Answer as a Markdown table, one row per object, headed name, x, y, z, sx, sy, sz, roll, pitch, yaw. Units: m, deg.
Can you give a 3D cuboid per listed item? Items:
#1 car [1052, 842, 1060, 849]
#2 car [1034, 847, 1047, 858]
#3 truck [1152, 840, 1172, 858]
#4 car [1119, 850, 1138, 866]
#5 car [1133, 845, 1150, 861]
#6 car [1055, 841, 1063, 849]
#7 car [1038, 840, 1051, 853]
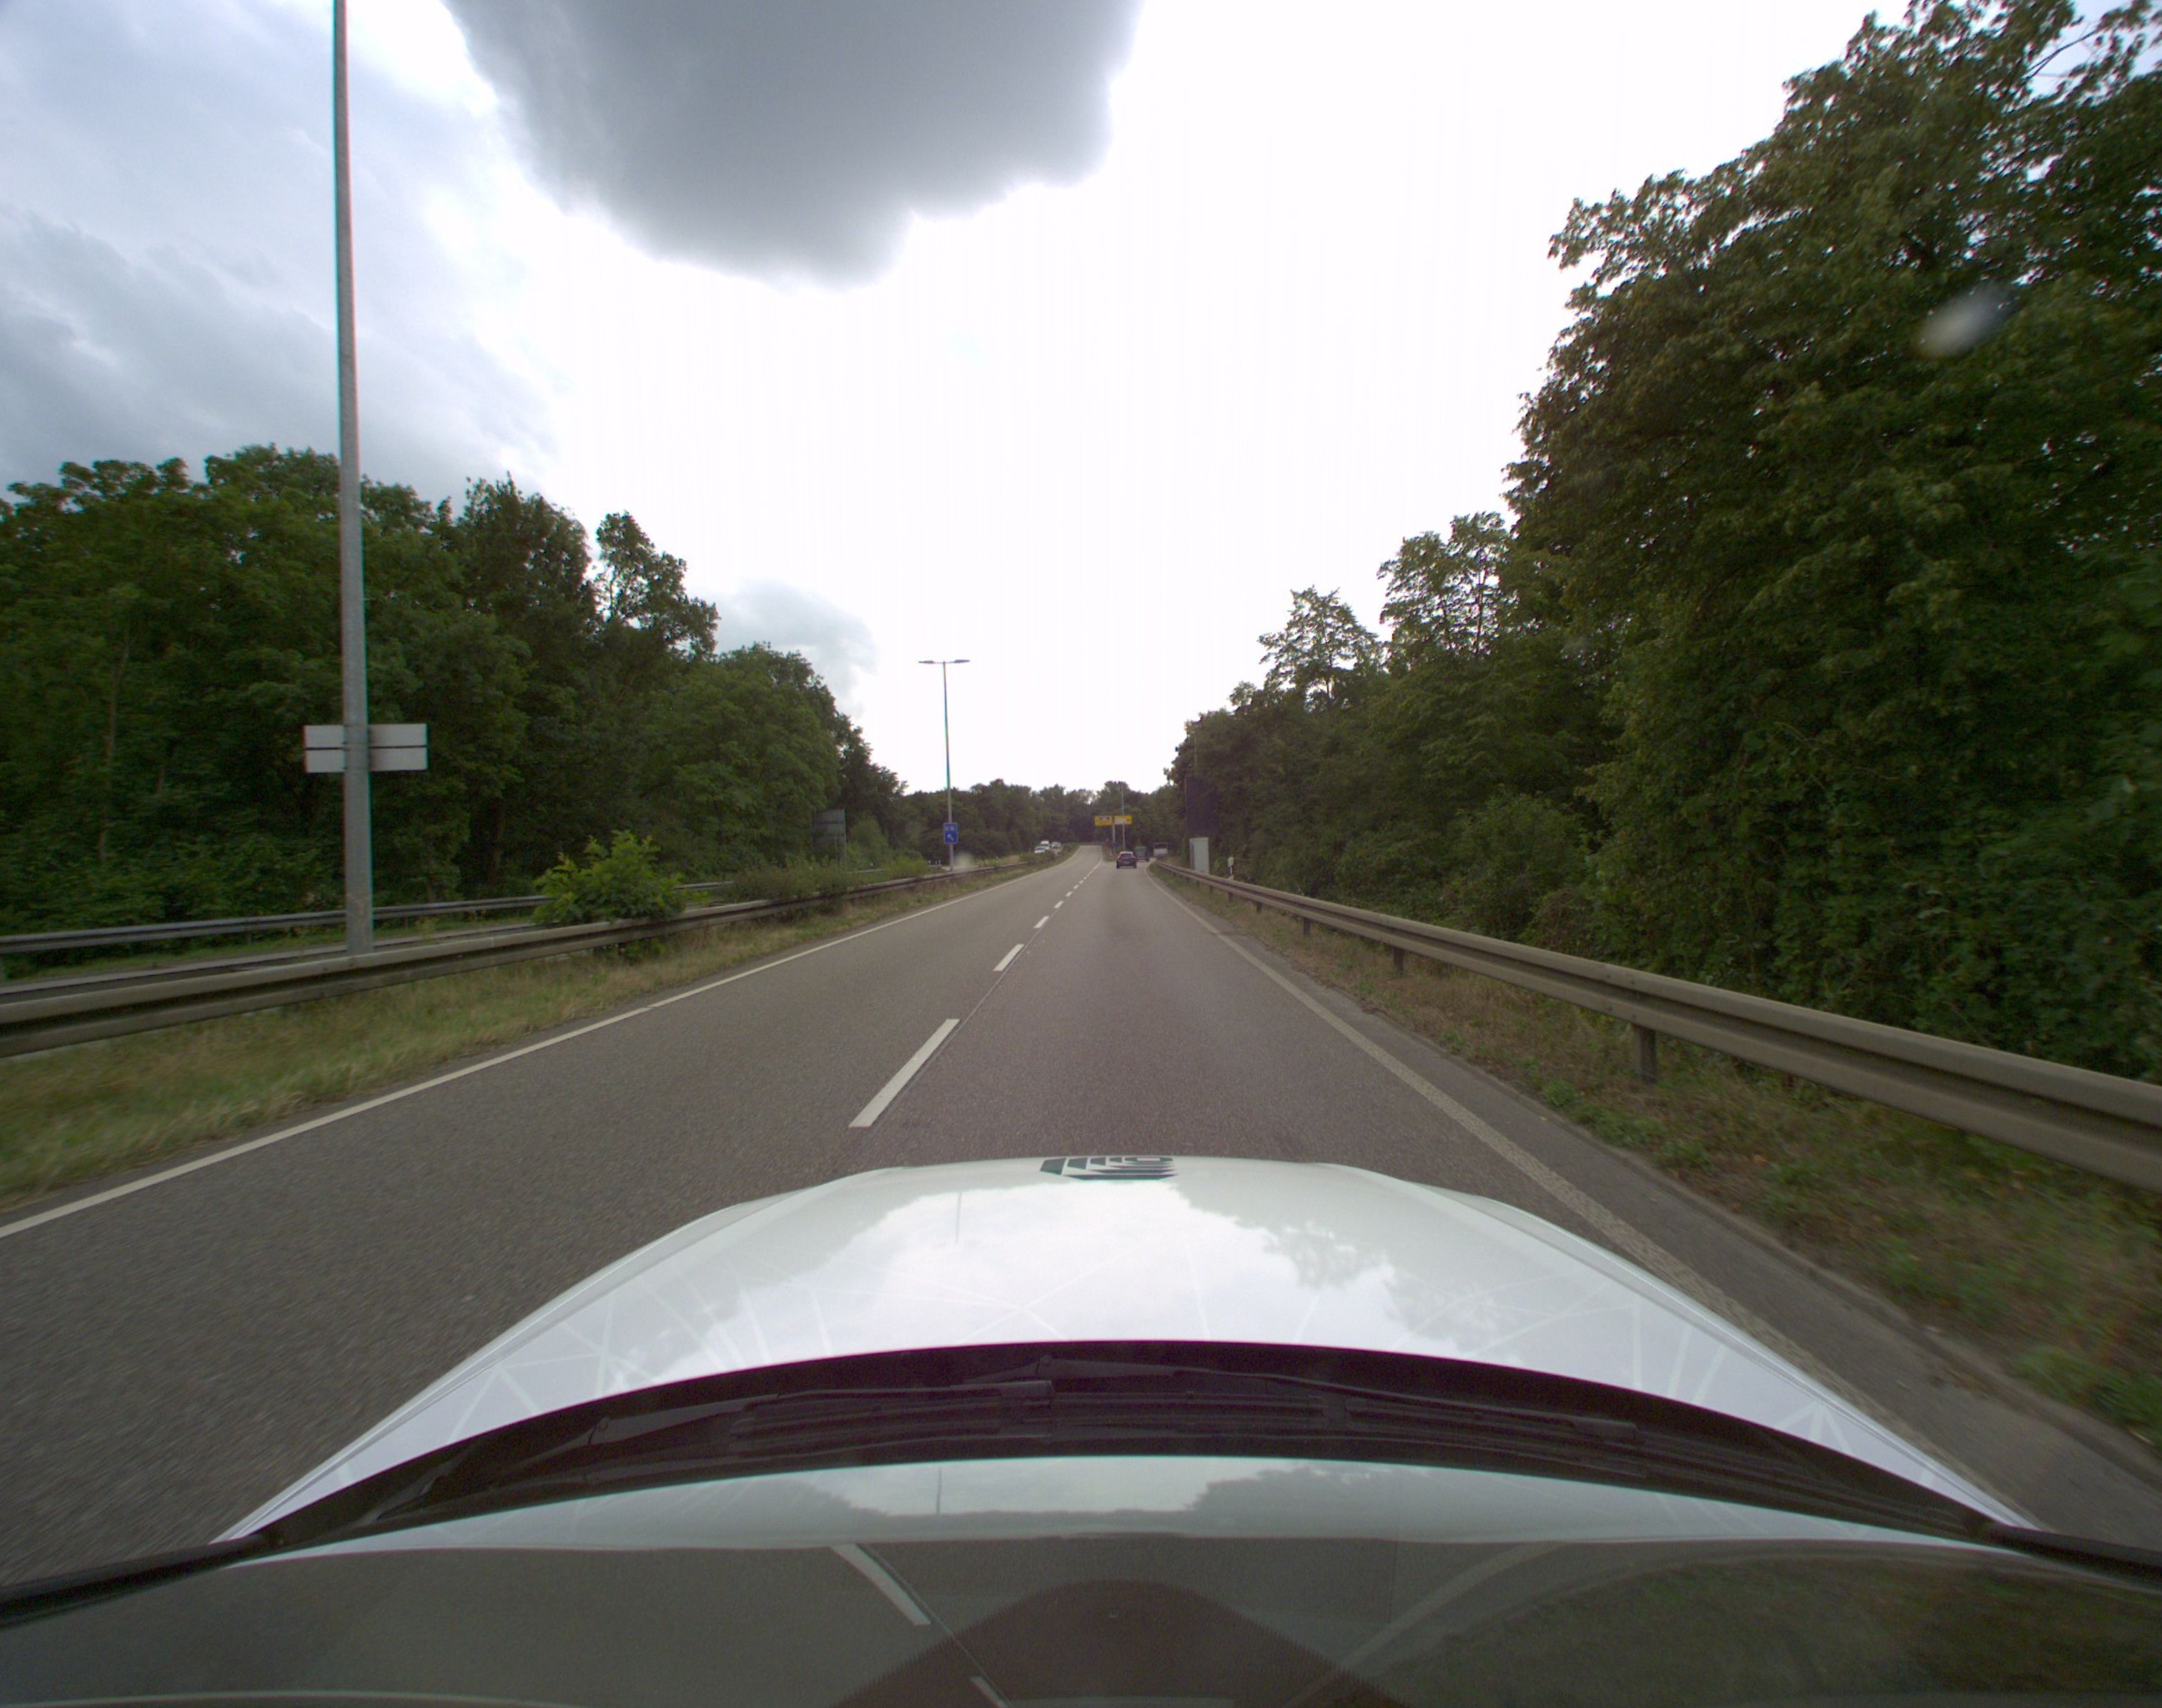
| name | x | y | z | sx | sy | sz | roll | pitch | yaw |
| --- | --- | --- | --- | --- | --- | --- | --- | --- | --- |
| car | -7.257 | -2.443 | 234.934 | 1.987 | 2.014 | 3.999 | -2 | -1 | 0 |
| car | -7.391 | -0.367 | 148.673 | 1.985 | 1.847 | 4.003 | -2 | 1 | 3 |
| truck | 14.726 | -0.842 | 147.710 | 2.963 | 2.885 | 8.010 | -2 | -1 | 9 |
| car | 4.272 | 0.405 | 73.931 | 1.619 | 1.377 | 4.002 | -2 | -1 | 3 |
| car | 8.124 | -0.051 | 109.675 | 2.139 | 2.014 | 4.002 | -2 | -1 | 2 |
| car | -5.871 | -2.377 | 217.162 | 1.985 | 2.013 | 4.003 | -2 | 1 | 3 |
| car | -7.935 | -1.638 | 177.597 | 2.109 | 2.591 | 5.043 | -2 | 1 | 3 |
